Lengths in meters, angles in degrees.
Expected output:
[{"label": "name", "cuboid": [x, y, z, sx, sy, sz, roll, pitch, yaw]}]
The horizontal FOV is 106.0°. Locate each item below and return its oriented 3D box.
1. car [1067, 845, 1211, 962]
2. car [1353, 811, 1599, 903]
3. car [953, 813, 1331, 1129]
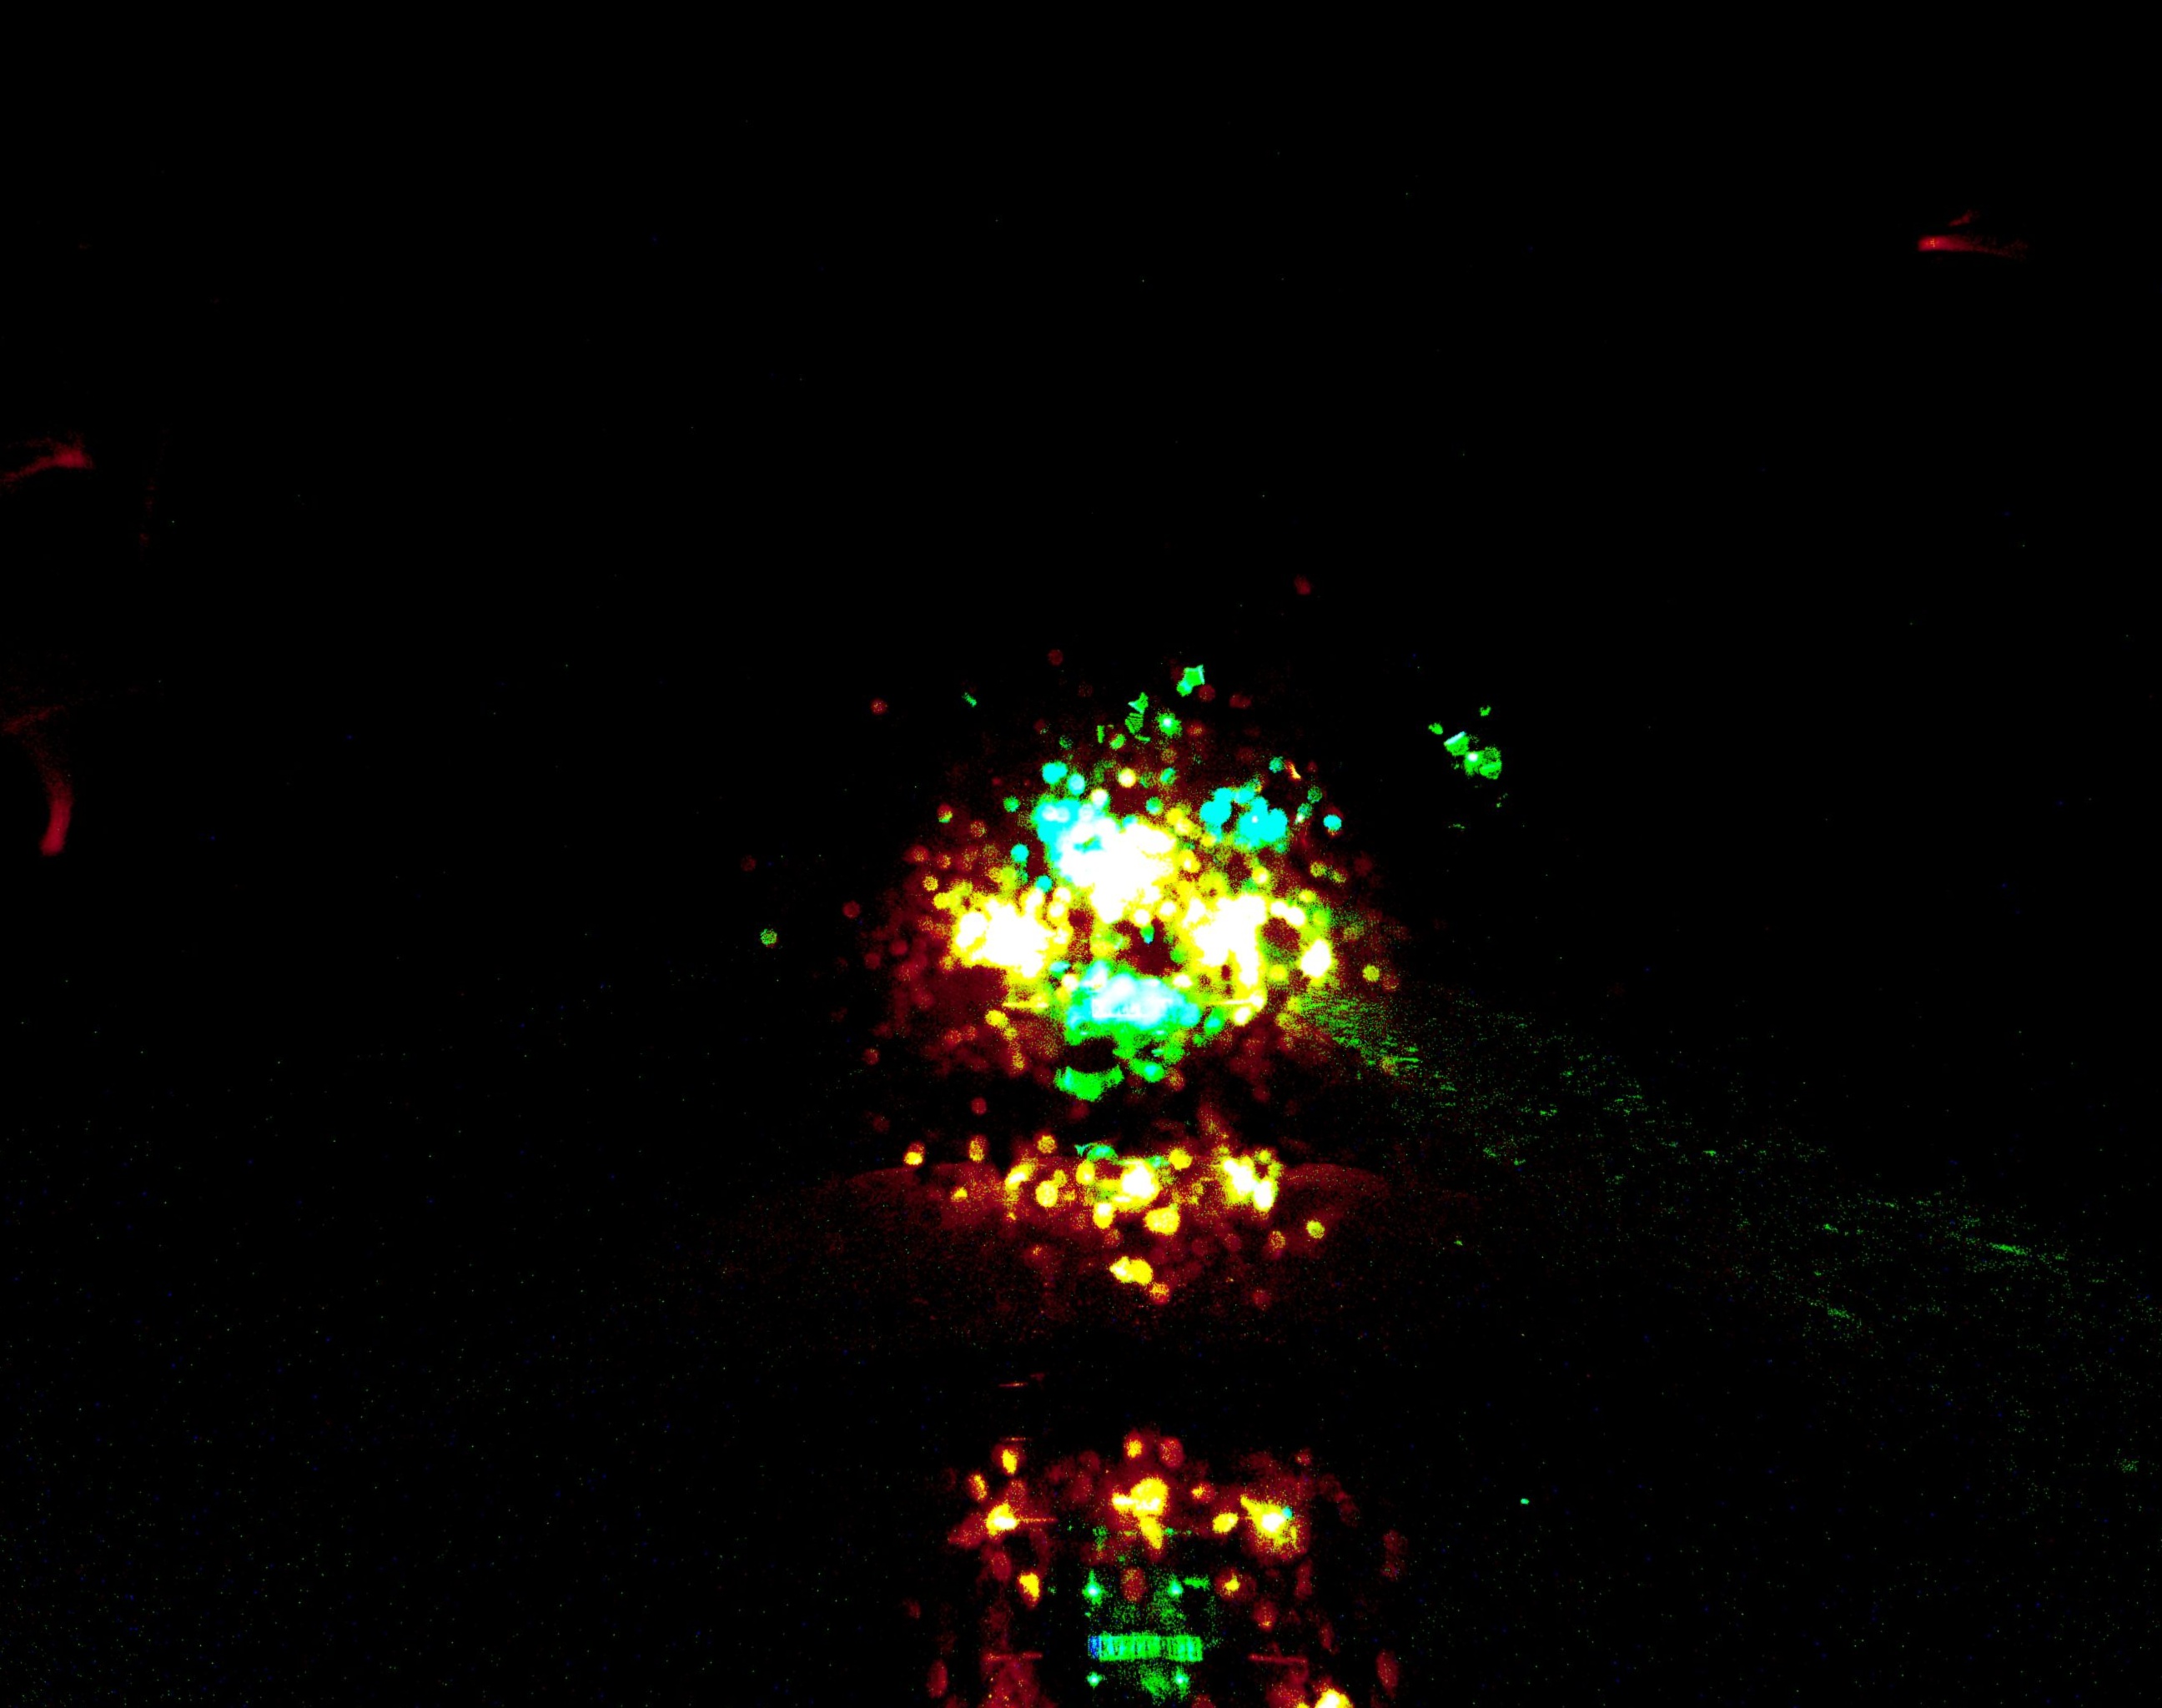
[{"label": "car", "cuboid": [0.891, 0.672, 13.449, 1.902, 1.510, 4.243, -4, 0, 2]}, {"label": "car", "cuboid": [8.453, 0.073, 17.868, 4.437, 1.586, 1.946, -4, 0, 13]}, {"label": "car", "cuboid": [0.406, 0.667, 6.659, 2.050, 1.678, 4.141, -3, 0, 2]}]
